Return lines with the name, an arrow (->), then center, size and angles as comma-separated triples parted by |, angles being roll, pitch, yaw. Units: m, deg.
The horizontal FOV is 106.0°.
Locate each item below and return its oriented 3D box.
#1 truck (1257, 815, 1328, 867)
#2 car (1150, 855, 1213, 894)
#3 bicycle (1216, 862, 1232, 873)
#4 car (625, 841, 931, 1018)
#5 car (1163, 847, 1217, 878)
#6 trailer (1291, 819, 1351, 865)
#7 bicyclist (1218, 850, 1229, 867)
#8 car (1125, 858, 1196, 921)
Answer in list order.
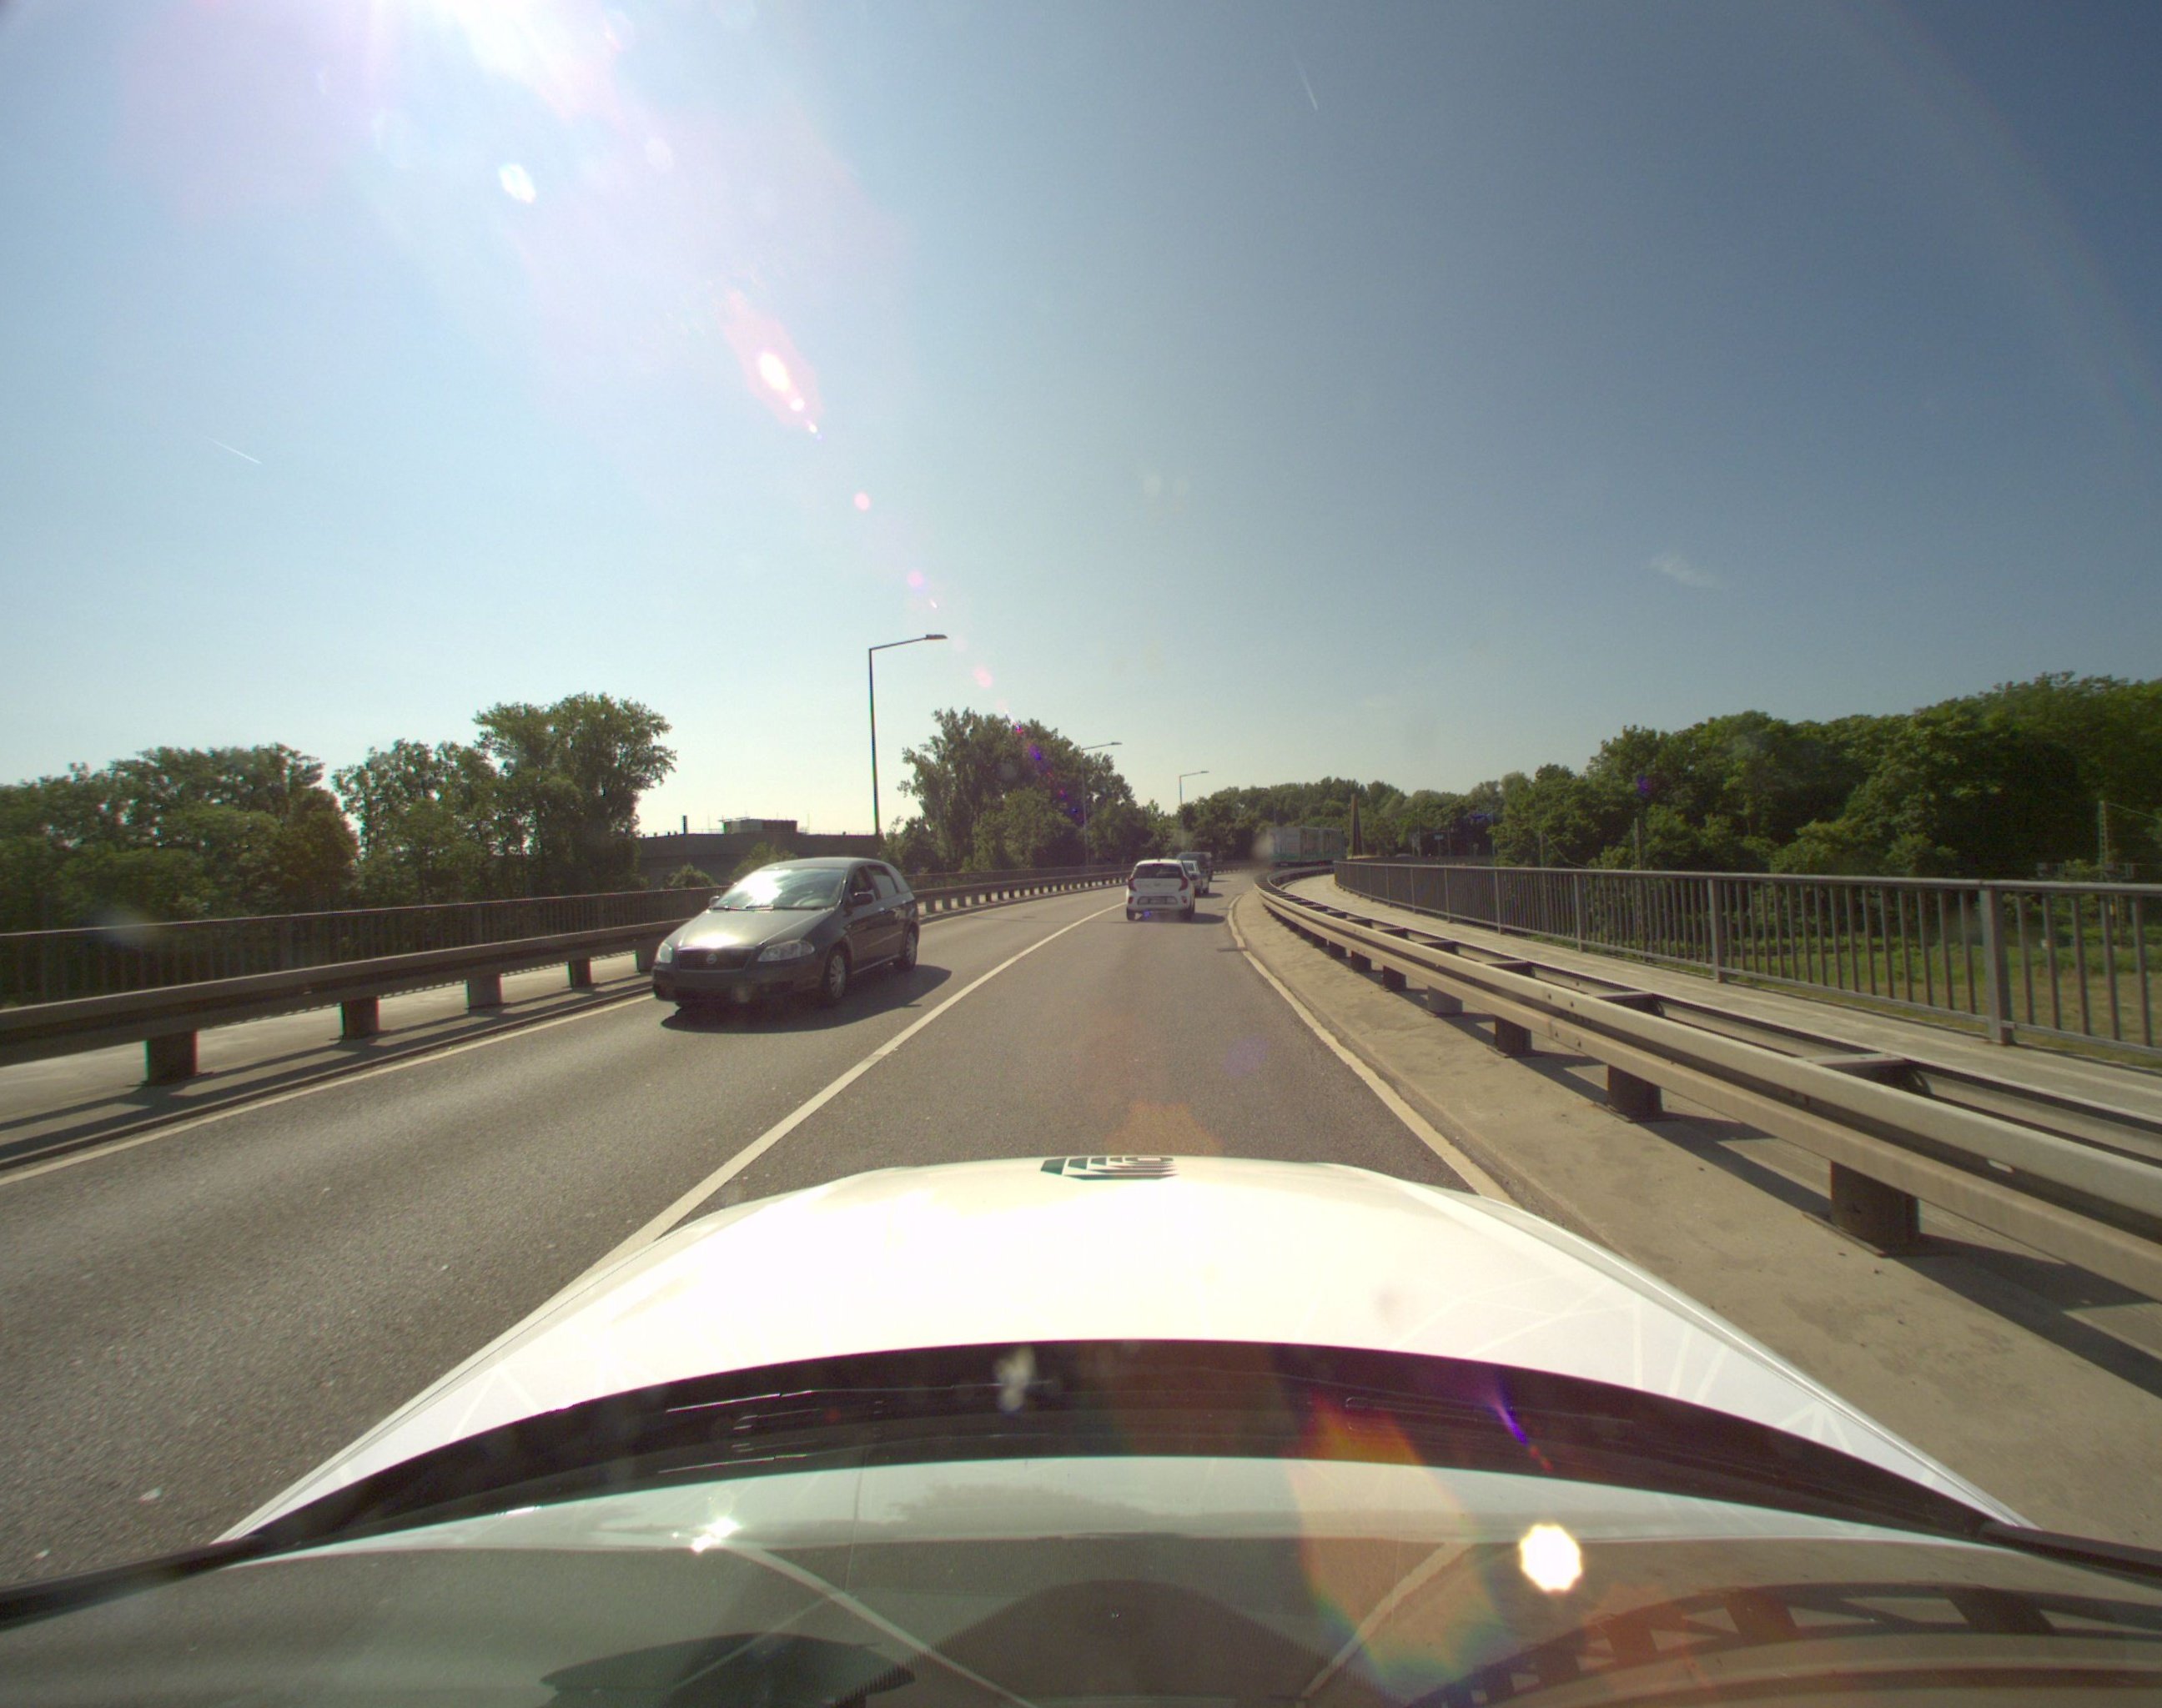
truck -> 16.579, -1.000, 63.363 | 3.229, 3.758, 8.423 | 1, 1, 30
car -> 4.204, 0.787, 33.375 | 1.925, 1.486, 4.919 | 0, 0, 14
bicycle -> 12.773, 1.197, 72.723 | 0.920, 0.891, 1.979 | -1, 0, 26
car -> -3.255, 0.692, 9.790 | 1.724, 1.625, 4.310 | 1, 0, 5
car -> 7.039, 0.499, 51.923 | 2.057, 1.888, 5.946 | 0, 0, 22
trailer -> 21.009, -1.094, 71.010 | 3.194, 3.758, 7.874 | 1, 1, 30
bicyclist -> 12.708, 0.413, 72.628 | 0.654, 1.496, 1.022 | -1, 1, 28
car -> 2.136, 0.854, 21.545 | 1.693, 1.494, 4.007 | 0, 0, 6
